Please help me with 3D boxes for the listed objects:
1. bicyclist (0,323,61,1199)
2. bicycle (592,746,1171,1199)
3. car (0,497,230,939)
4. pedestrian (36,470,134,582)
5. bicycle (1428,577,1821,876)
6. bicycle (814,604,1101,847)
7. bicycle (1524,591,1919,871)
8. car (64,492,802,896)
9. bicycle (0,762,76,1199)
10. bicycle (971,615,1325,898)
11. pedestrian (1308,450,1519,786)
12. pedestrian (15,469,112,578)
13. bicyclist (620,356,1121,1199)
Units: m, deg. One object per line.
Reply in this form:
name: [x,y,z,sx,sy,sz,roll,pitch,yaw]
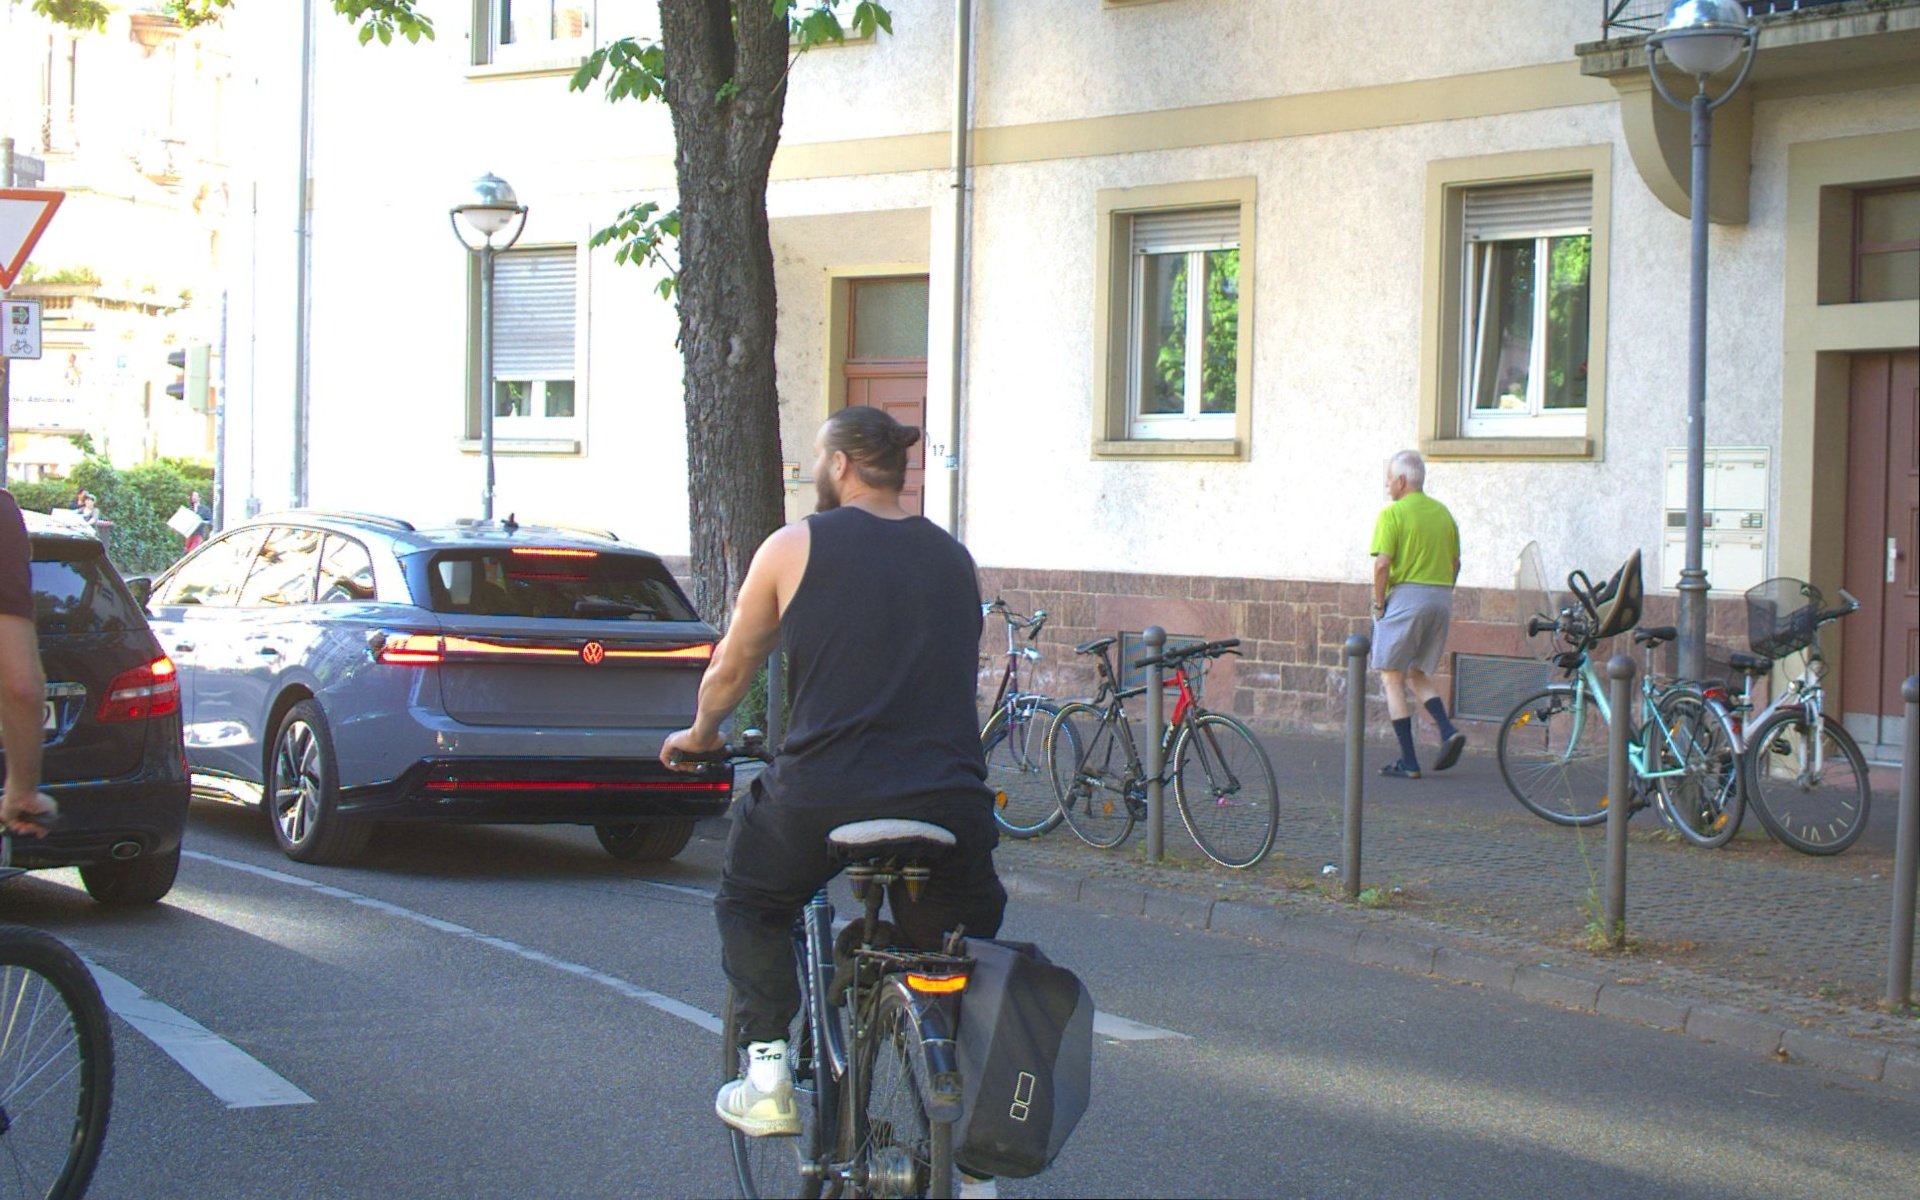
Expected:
bicyclist: [-1.933,0.296,6.003,0.671,1.509,1.069,1,1,-14]
bicycle: [-0.228,0.860,6.673,0.737,1.008,2.062,-1,1,-12]
car: [-4.525,0.371,13.575,1.813,1.538,3.958,-2,2,-35]
pedestrian: [-15.772,-1.330,62.003,1.159,1.955,1.386,2,1,13]
bicycle: [2.906,0.518,15.277,0.494,1.168,2.117,-3,3,-27]
bicycle: [-0.049,0.558,16.266,0.520,0.995,2.192,1,1,-23]
bicycle: [3.430,0.548,15.567,0.582,1.110,2.118,0,2,-26]
car: [-2.569,0.331,15.916,1.891,1.572,4.000,1,2,-32]
bicycle: [-1.909,0.866,6.016,0.674,1.050,2.062,1,0,-14]
bicycle: [0.777,0.637,14.895,0.616,1.054,1.929,-1,3,-28]
pedestrian: [2.491,0.075,18.854,0.995,1.789,0.659,-2,3,-44]
pedestrian: [-16.499,-1.407,63.293,1.159,1.955,1.386,2,1,13]
bicyclist: [-0.199,0.401,6.588,0.752,1.676,0.913,1,1,-13]
